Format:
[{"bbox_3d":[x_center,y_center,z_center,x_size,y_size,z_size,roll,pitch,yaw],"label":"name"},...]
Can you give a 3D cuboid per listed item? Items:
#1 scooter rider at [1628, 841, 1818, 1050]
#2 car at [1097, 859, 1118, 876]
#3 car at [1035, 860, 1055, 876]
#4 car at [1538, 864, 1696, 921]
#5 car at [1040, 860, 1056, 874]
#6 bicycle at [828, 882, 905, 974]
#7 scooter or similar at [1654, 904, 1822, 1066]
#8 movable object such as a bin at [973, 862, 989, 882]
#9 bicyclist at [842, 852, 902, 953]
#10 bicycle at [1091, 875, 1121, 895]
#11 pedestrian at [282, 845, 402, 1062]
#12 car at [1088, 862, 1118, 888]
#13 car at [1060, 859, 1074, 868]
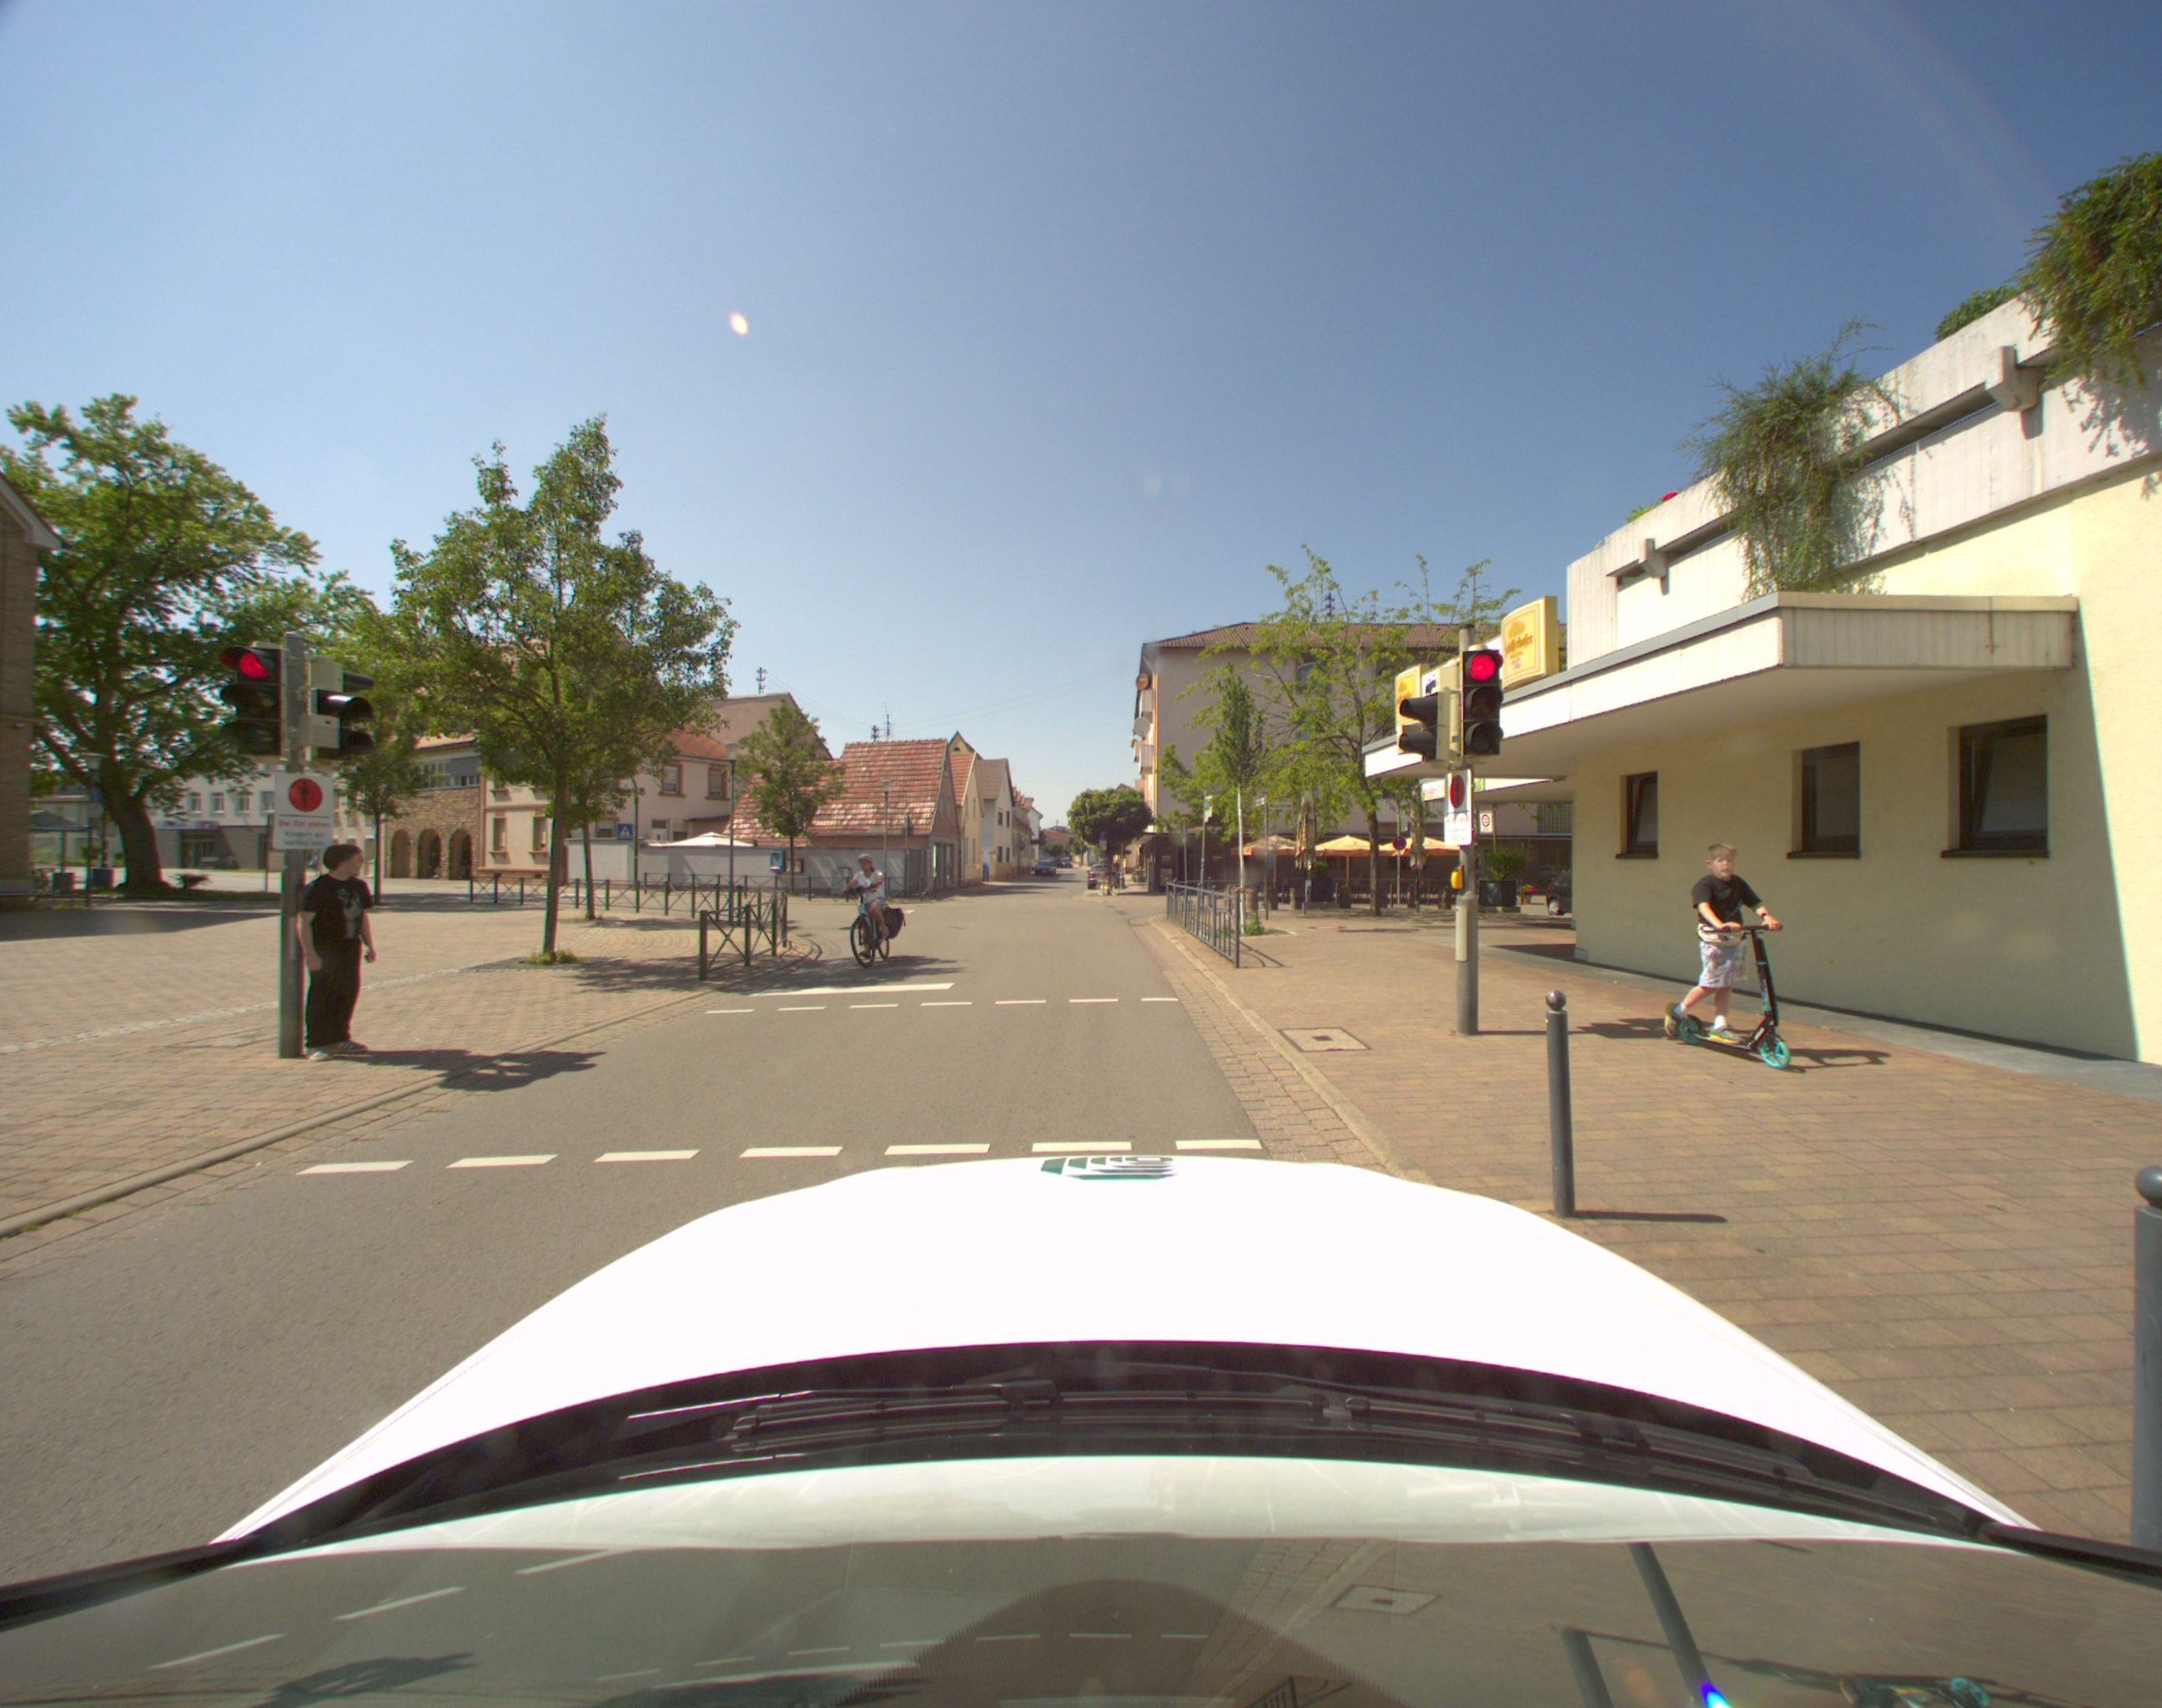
[{"bbox_3d":[4.462,0.585,5.745,0.460,1.325,1.134,0,-1,2],"label":"scooter rider"},{"bbox_3d":[2.667,1.324,81.162,2.035,1.689,4.843,0,-1,2],"label":"car"},{"bbox_3d":[-3.434,1.305,78.442,1.657,1.476,4.135,0,-1,1],"label":"car"},{"bbox_3d":[15.245,1.057,23.456,1.763,1.510,3.965,1,-1,-4],"label":"car"},{"bbox_3d":[-3.451,1.327,85.001,1.659,1.476,3.448,0,-1,-2],"label":"car"},{"bbox_3d":[-3.325,1.109,12.800,0.706,1.252,1.971,-2,-1,-2],"label":"bicycle"},{"bbox_3d":[4.473,0.852,5.606,0.409,0.965,0.961,0,-1,3],"label":"scooter or similar"},{"bbox_3d":[-7.012,1.258,57.093,1.096,1.366,0.390,0,-1,5],"label":"movable object such as a bin"},{"bbox_3d":[-3.308,0.744,12.970,0.713,1.506,0.869,-3,0,-5],"label":"bicyclist"},{"bbox_3d":[1.194,1.478,38.674,1.396,0.897,0.468,-2,0,38],"label":"bicycle"},{"bbox_3d":[-5.865,0.748,6.470,0.543,1.619,0.561,-1,-2,35],"label":"pedestrian"},{"bbox_3d":[1.302,1.191,47.303,1.569,1.454,3.489,0,-1,4],"label":"car"},{"bbox_3d":[-2.296,1.592,131.956,1.907,1.481,4.831,0,-1,-7],"label":"car"}]
